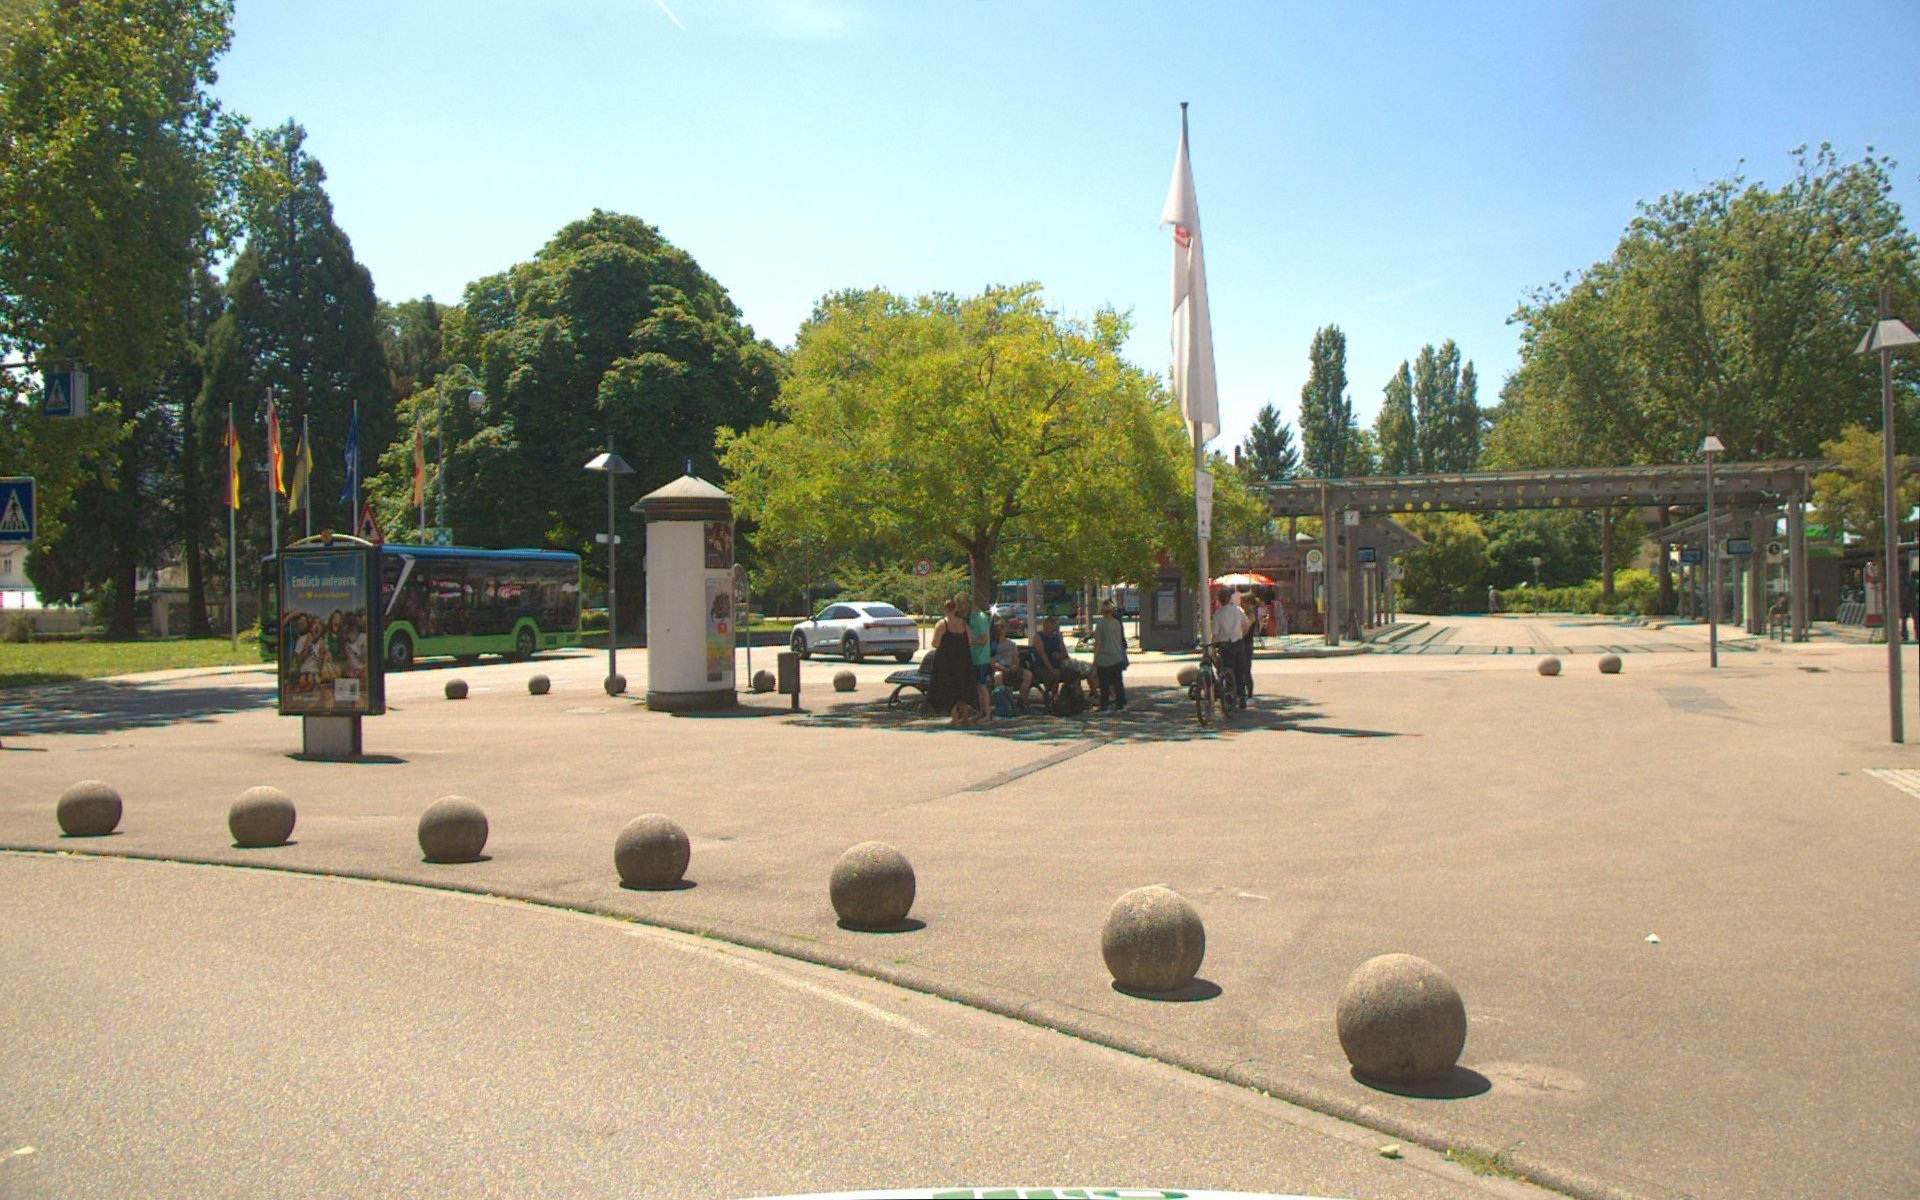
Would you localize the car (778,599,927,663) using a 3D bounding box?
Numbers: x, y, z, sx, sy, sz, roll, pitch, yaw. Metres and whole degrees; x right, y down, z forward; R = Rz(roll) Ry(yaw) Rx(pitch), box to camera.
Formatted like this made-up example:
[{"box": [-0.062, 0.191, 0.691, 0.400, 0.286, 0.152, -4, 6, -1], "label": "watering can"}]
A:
[{"box": [-3.080, 0.850, 46.472, 1.968, 1.655, 4.716, -1, 0, -37], "label": "car"}]

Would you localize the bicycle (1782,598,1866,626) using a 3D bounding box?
[{"box": [33.385, 0.470, 63.936, 2.728, 1.021, 0.812, 1, 0, 16], "label": "bicycle"}]

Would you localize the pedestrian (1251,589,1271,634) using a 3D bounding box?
[{"box": [11.992, 0.445, 65.802, 0.672, 1.768, 0.707, -1, -1, 18], "label": "pedestrian"}]

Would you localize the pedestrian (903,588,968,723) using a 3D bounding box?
[{"box": [-0.336, 0.747, 22.535, 0.578, 1.794, 0.685, -1, 0, -34], "label": "pedestrian"}]

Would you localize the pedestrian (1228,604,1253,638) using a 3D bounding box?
[{"box": [9.931, 0.755, 58.602, 0.672, 1.181, 0.895, -1, 0, 22], "label": "pedestrian"}]

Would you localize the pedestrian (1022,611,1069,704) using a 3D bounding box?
[{"box": [1.302, 0.865, 25.265, 0.586, 1.388, 0.598, -1, 0, -10], "label": "pedestrian"}]

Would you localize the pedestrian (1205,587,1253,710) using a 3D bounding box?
[{"box": [3.803, 0.680, 23.419, 0.604, 1.714, 0.591, -1, 0, 6], "label": "pedestrian"}]

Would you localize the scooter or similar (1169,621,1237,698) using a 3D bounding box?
[{"box": [3.715, 0.904, 25.259, 1.003, 1.159, 0.294, -1, -1, 11], "label": "scooter or similar"}]

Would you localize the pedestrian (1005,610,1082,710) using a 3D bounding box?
[{"box": [1.206, 0.855, 24.042, 0.893, 1.410, 0.941, -1, 0, -11], "label": "pedestrian"}]

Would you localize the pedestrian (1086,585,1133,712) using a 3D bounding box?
[{"box": [2.125, 0.681, 23.574, 0.501, 1.770, 0.569, -1, 0, -11], "label": "pedestrian"}]

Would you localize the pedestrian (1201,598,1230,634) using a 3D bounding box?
[{"box": [9.713, 0.616, 62.969, 0.877, 1.335, 0.685, -1, 0, -17], "label": "pedestrian"}]

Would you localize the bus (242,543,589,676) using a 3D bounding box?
[{"box": [-15.205, 0.223, 47.913, 2.750, 3.340, 12.431, -1, 0, 18], "label": "bus"}]

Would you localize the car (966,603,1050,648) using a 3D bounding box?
[{"box": [1.841, 0.933, 61.796, 1.886, 1.486, 4.727, -4, -1, 17], "label": "car"}]

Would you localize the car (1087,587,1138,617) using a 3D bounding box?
[{"box": [11.453, 0.138, 124.589, 2.166, 2.211, 4.861, -1, 0, -16], "label": "car"}]

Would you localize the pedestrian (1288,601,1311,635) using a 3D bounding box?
[{"box": [12.666, 0.671, 61.628, 0.743, 1.226, 0.737, 1, 0, 18], "label": "pedestrian"}]

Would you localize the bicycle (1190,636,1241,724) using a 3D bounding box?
[{"box": [3.398, 1.030, 21.891, 0.411, 1.079, 1.950, -1, -1, 16], "label": "bicycle"}]

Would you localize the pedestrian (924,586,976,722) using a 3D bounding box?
[{"box": [-0.137, 0.702, 21.880, 0.614, 1.770, 0.547, -1, 0, -7], "label": "pedestrian"}]

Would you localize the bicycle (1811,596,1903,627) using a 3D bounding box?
[{"box": [31.591, 0.405, 58.311, 2.728, 1.021, 0.812, 1, 0, 16], "label": "bicycle"}]

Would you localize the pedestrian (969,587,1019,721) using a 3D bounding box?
[{"box": [0.457, 0.720, 22.259, 0.572, 1.770, 0.599, -1, 0, -7], "label": "pedestrian"}]

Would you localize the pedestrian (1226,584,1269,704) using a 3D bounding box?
[{"box": [4.174, 0.637, 24.026, 0.541, 1.714, 0.588, -1, 0, 6], "label": "pedestrian"}]

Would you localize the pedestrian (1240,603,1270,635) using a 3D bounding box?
[{"box": [11.131, 0.726, 62.445, 0.877, 1.181, 0.685, -1, 0, -17], "label": "pedestrian"}]
